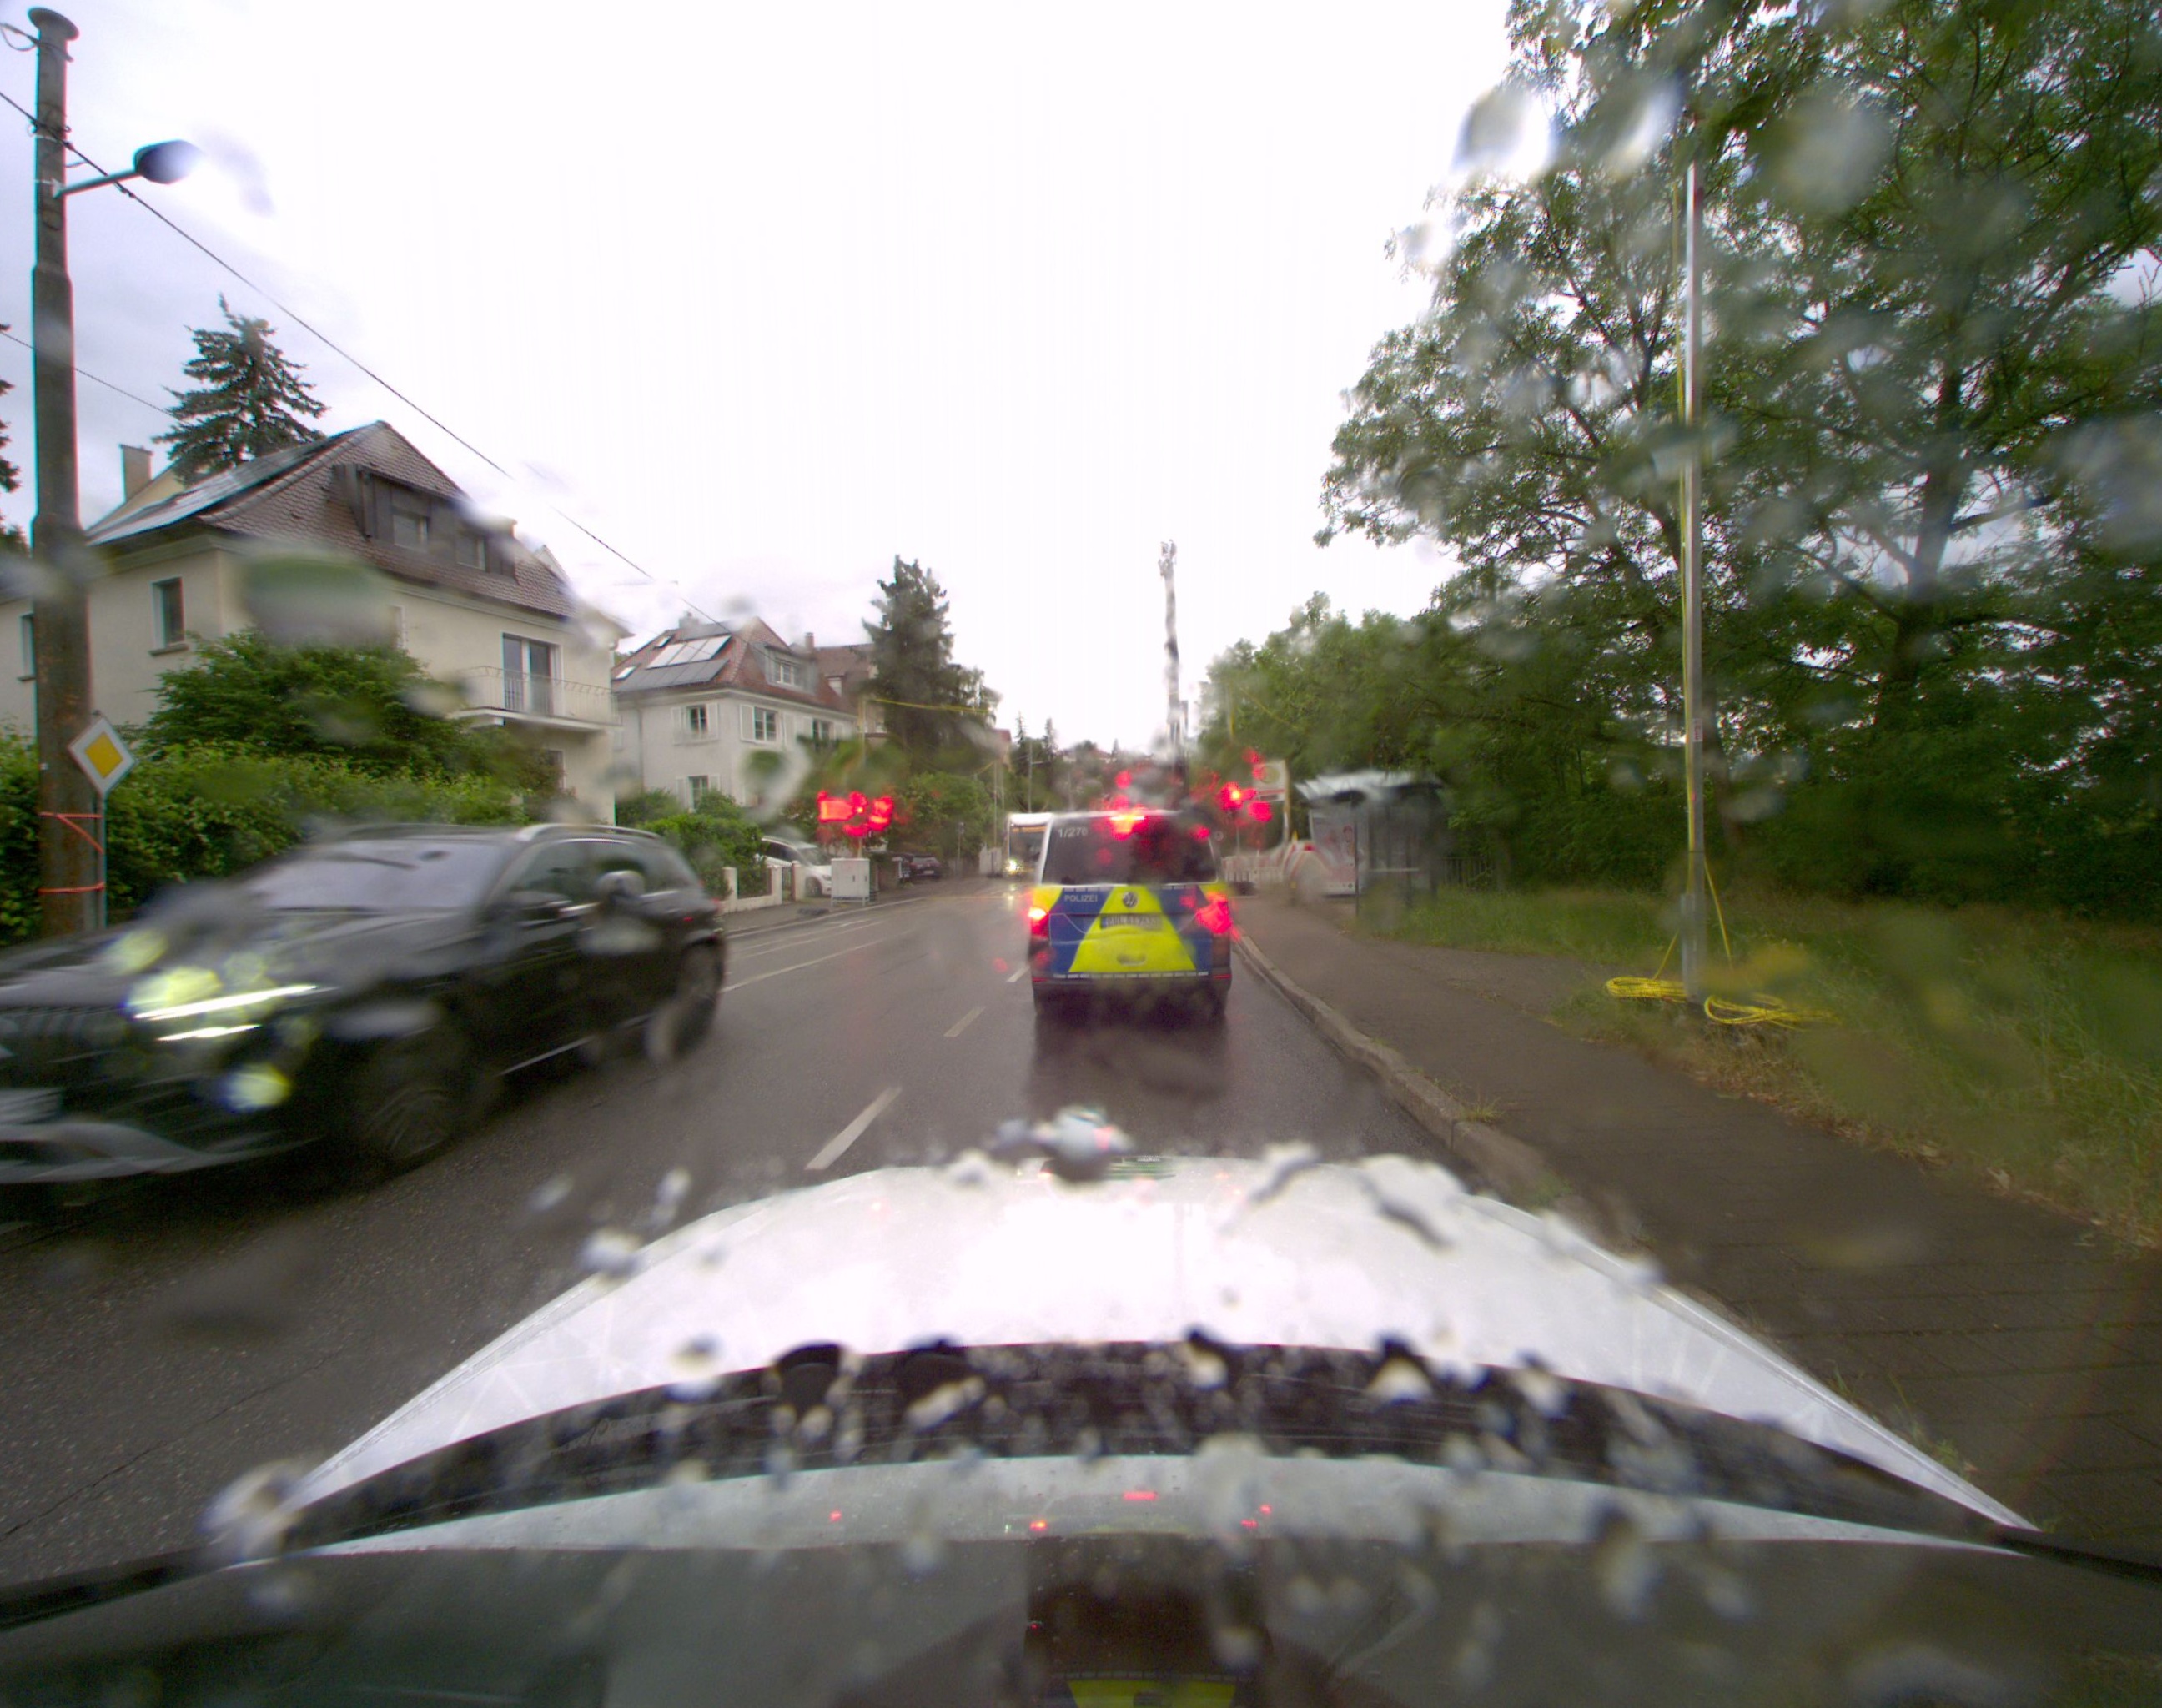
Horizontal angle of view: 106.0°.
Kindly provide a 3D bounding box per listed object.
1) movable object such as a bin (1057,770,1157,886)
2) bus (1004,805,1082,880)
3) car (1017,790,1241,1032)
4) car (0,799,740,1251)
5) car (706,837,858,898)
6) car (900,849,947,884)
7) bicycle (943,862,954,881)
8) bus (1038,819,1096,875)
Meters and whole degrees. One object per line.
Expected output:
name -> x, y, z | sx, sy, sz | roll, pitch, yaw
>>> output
movable object such as a bin -> 1.117, -0.931, 31.768 | 2.809, 4.177, 4.400 | 0, 0, 17
bus -> -1.873, -0.591, 46.466 | 2.827, 3.718, 12.022 | 0, 0, 5
car -> 0.473, 0.482, 8.937 | 1.886, 2.050, 4.002 | 0, 0, 2
car -> -4.241, 0.652, 5.437 | 1.972, 1.748, 4.553 | 0, 0, 0
car -> -10.269, 0.460, 28.053 | 4.599, 2.007, 1.907 | 0, 0, 13
car -> -7.443, 0.557, 38.295 | 1.770, 1.486, 3.720 | 0, 1, -17
bicycle -> -6.488, 0.827, 39.885 | 0.463, 0.897, 1.627 | -1, 0, -12
bus -> -0.790, -0.467, 58.394 | 2.827, 3.625, 12.022 | 0, 0, 5
